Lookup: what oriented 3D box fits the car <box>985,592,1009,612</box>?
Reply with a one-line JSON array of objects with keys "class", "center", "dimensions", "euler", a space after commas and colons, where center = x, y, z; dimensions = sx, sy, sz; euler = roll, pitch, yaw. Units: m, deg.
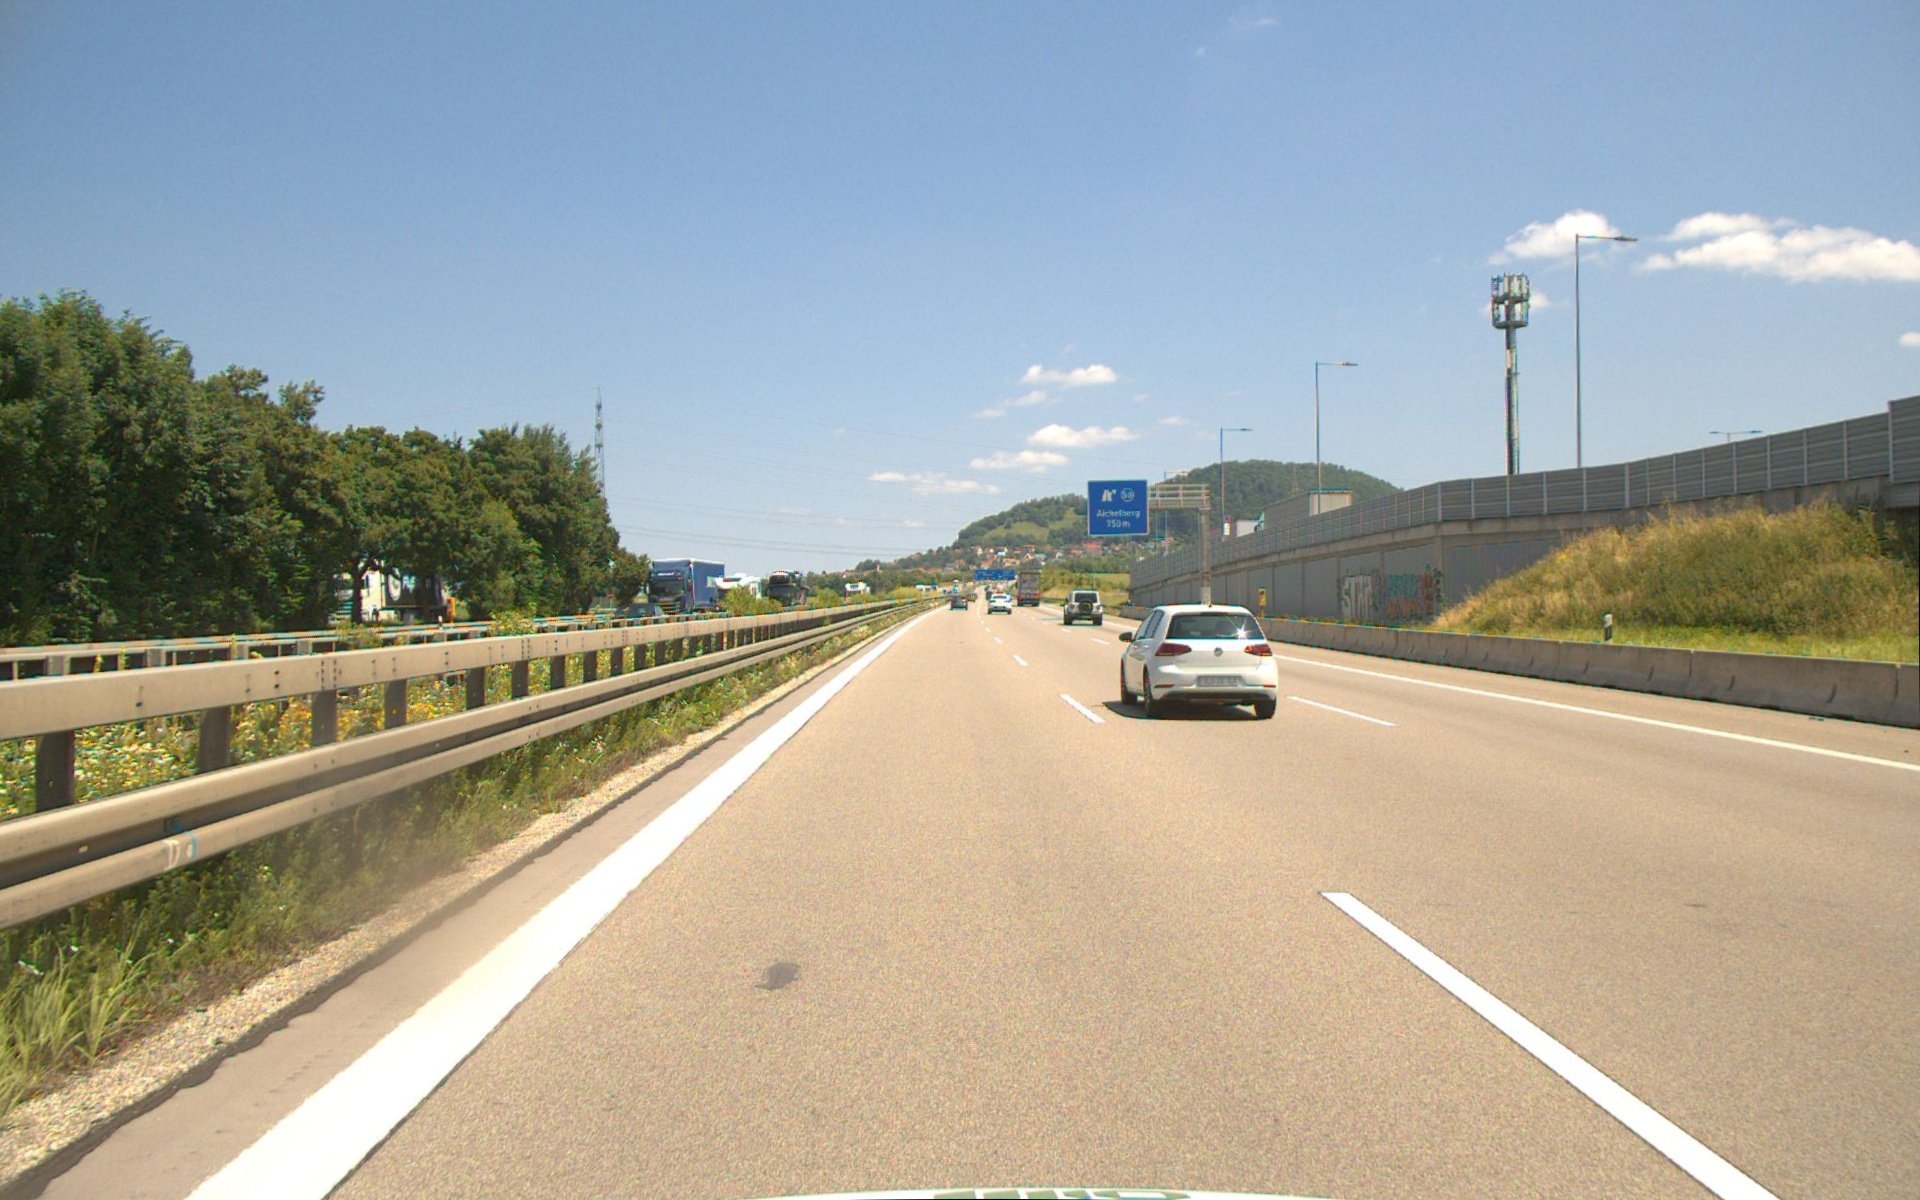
[{"class": "car", "center": [2.958, 0.167, 133.235], "dimensions": [1.875, 1.608, 5.231], "euler": [1, 0, 0]}]

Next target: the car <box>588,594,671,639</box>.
[{"class": "car", "center": [-10.216, 0.500, 51.364], "dimensions": [1.763, 1.333, 3.999], "euler": [1, 0, -1]}]

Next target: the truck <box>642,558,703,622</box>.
[{"class": "truck", "center": [-17.804, -0.615, 102.811], "dimensions": [2.790, 3.810, 5.692], "euler": [1, 0, -1]}]

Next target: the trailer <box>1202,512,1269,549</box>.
[{"class": "trailer", "center": [21.474, -5.361, 129.823], "dimensions": [2.664, 2.263, 14.017], "euler": [1, 0, -1]}]

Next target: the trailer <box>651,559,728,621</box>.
[{"class": "trailer", "center": [-17.864, -0.571, 110.311], "dimensions": [2.784, 3.799, 14.528], "euler": [1, 0, 0]}]

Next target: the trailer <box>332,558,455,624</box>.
[{"class": "trailer", "center": [-35.348, -0.487, 104.004], "dimensions": [2.711, 3.845, 14.411], "euler": [1, 0, 0]}]

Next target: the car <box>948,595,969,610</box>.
[{"class": "car", "center": [-0.152, 0.215, 159.451], "dimensions": [1.952, 1.413, 4.001], "euler": [1, 0, 1]}]

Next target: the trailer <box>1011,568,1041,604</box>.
[{"class": "trailer", "center": [8.134, -1.671, 204.513], "dimensions": [2.670, 4.227, 11.802], "euler": [1, 0, -2]}]

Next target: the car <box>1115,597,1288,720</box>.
[{"class": "car", "center": [3.283, 0.733, 23.319], "dimensions": [1.739, 1.458, 4.691], "euler": [1, 1, 0]}]

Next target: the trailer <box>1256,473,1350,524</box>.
[{"class": "trailer", "center": [21.689, -6.370, 105.550], "dimensions": [2.664, 2.263, 14.524], "euler": [1, 0, -1]}]

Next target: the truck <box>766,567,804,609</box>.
[{"class": "truck", "center": [-16.792, -1.140, 159.461], "dimensions": [2.621, 3.886, 9.152], "euler": [1, 0, 0]}]

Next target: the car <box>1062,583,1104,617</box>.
[{"class": "car", "center": [6.764, -0.010, 91.180], "dimensions": [1.993, 1.836, 4.250], "euler": [0, 0, 0]}]

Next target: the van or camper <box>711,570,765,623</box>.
[{"class": "van or camper", "center": [-13.452, -0.209, 100.746], "dimensions": [2.224, 3.021, 6.953], "euler": [-2, 0, 0]}]

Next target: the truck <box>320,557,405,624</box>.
[{"class": "truck", "center": [-35.360, -0.535, 98.061], "dimensions": [2.739, 3.849, 6.098], "euler": [1, 0, 0]}]
